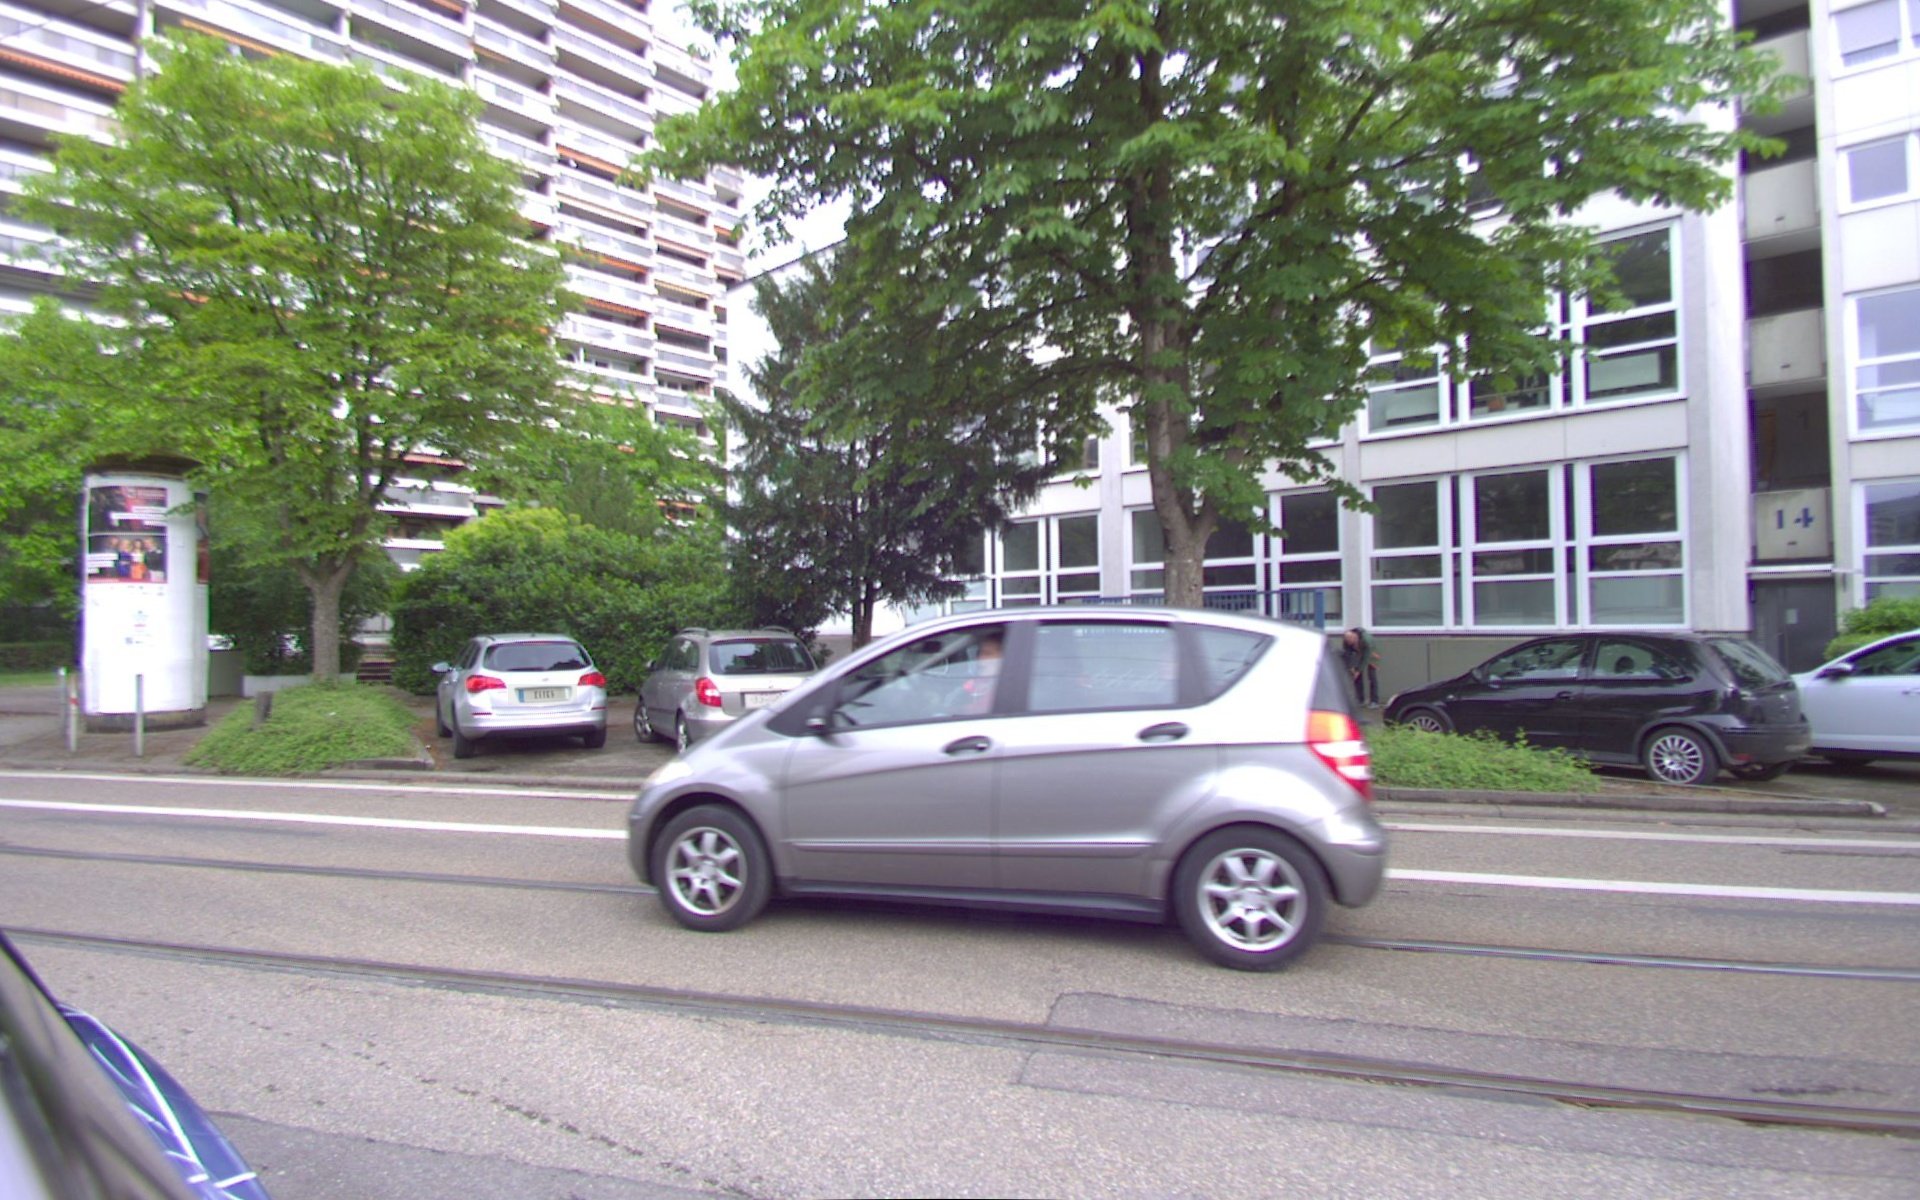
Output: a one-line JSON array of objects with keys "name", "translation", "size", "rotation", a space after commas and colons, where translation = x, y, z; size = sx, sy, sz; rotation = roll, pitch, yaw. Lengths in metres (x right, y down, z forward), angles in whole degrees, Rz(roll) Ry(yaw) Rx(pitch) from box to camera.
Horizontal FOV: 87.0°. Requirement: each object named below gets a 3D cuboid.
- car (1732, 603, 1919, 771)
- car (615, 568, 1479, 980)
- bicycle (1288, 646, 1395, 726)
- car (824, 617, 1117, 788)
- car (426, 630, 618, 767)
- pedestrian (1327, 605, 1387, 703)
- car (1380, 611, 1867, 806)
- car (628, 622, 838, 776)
[{"name": "car", "translation": [9.587, 0.770, 8.971], "size": [1.670, 1.495, 4.042], "rotation": [-1, -1, -22]}, {"name": "car", "translation": [0.387, 0.744, 5.248], "size": [3.720, 1.542, 1.897], "rotation": [-1, -4, 16]}, {"name": "bicycle", "translation": [6.384, 1.427, 16.988], "size": [1.592, 1.278, 0.401], "rotation": [-3, -3, 36]}, {"name": "car", "translation": [-0.061, 0.991, 11.358], "size": [1.670, 1.535, 3.717], "rotation": [-1, -1, -28]}, {"name": "car", "translation": [-6.039, 1.167, 13.641], "size": [1.773, 1.476, 4.445], "rotation": [0, -1, -31]}, {"name": "pedestrian", "translation": [6.854, 0.912, 17.453], "size": [0.755, 1.623, 0.724], "rotation": [0, 0, 43]}, {"name": "car", "translation": [6.366, 0.913, 10.172], "size": [1.670, 1.535, 3.717], "rotation": [-1, -1, -28]}, {"name": "car", "translation": [-2.897, 1.058, 12.338], "size": [1.546, 1.535, 3.663], "rotation": [-1, -1, -28]}]
